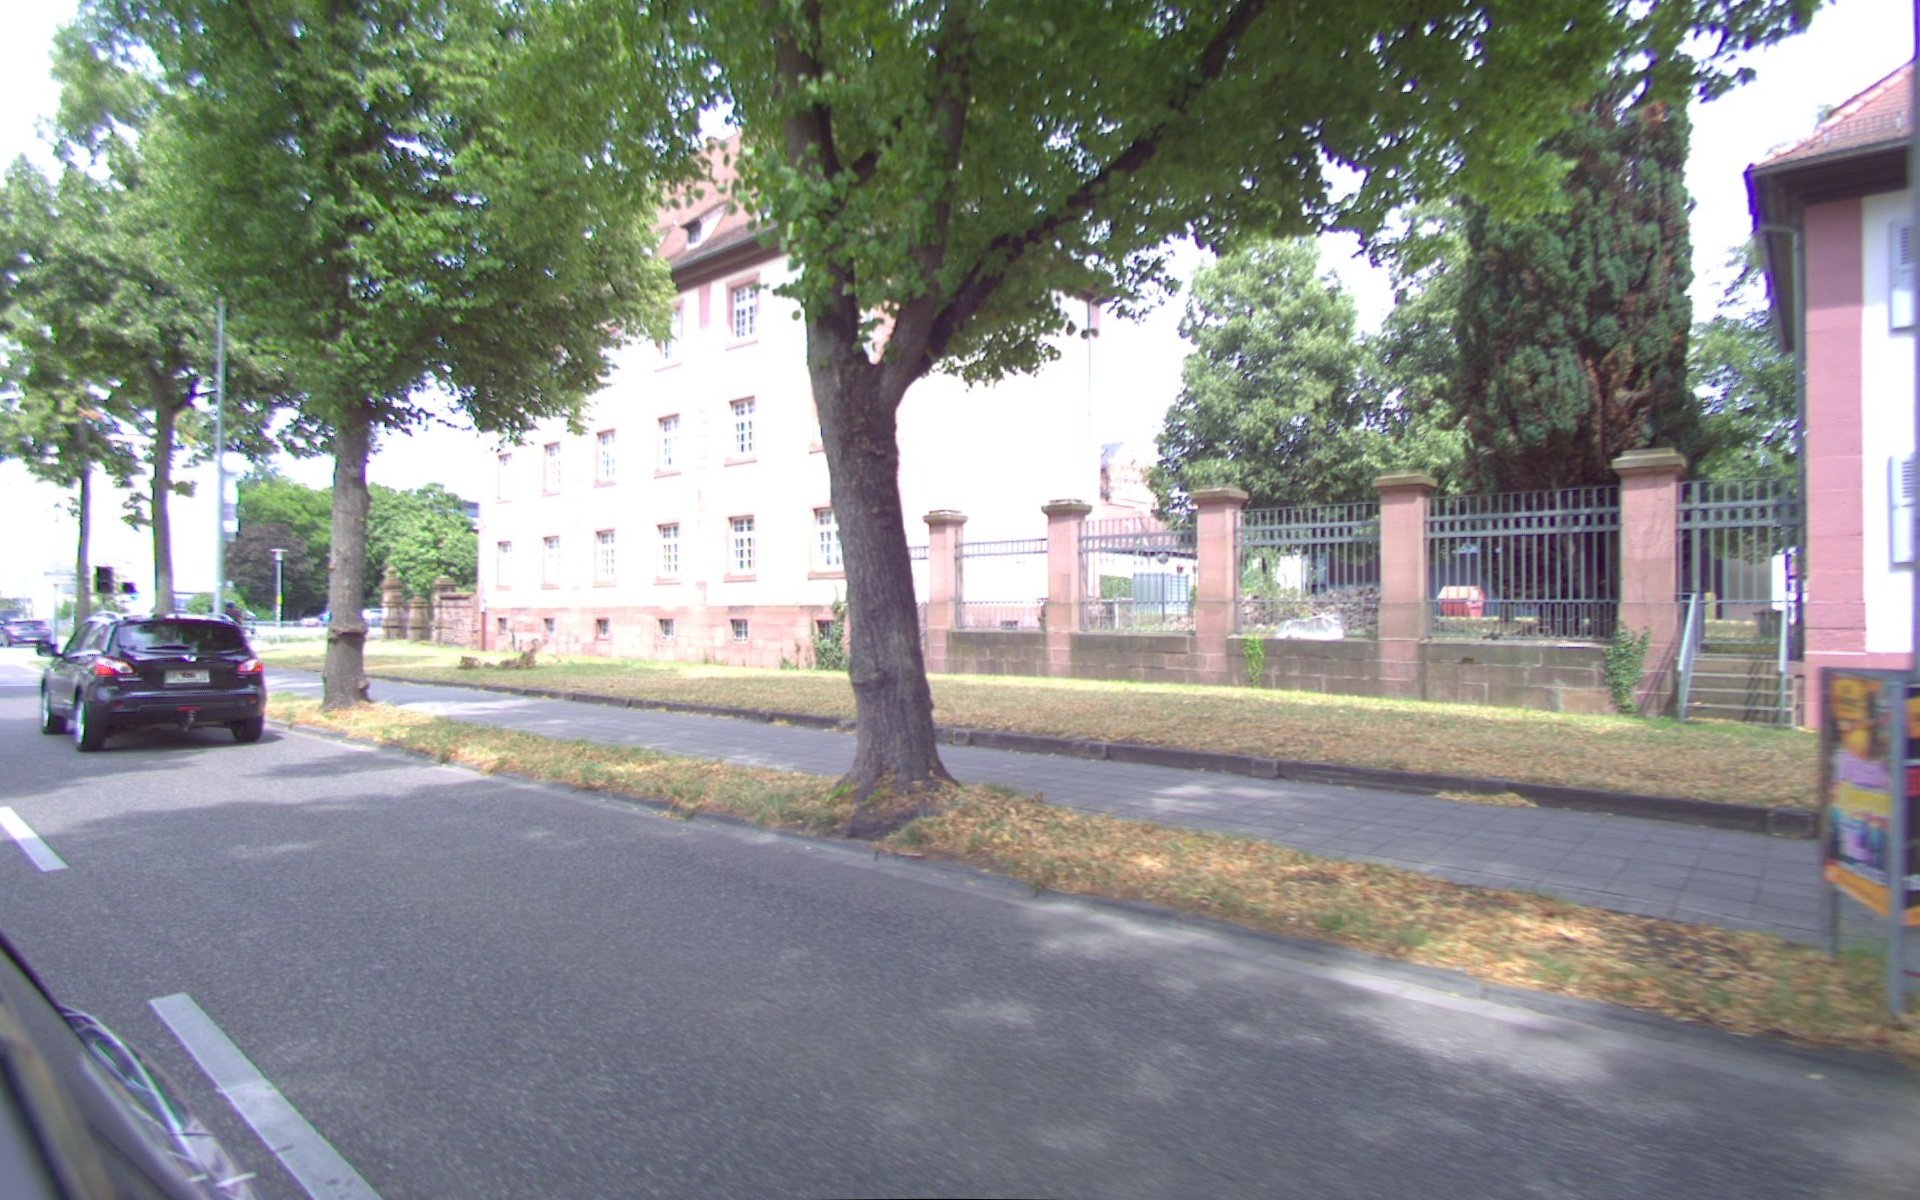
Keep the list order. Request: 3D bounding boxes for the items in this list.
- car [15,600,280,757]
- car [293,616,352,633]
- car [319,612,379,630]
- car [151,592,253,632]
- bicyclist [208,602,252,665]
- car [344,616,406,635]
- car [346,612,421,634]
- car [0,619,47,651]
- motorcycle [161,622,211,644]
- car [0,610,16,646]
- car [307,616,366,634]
[{"bbox_3d":[-10.389,0.894,12.839,4.253,1.672,1.754,-1,-3,40],"label":"car"},{"bbox_3d":[-56.015,2.126,88.977,1.982,1.494,3.946,0,-1,41],"label":"car"},{"bbox_3d":[-51.703,1.795,85.738,1.969,1.494,3.946,0,-1,41],"label":"car"},{"bbox_3d":[-52.309,0.794,69.893,2.354,2.571,5.254,-1,0,42],"label":"car"},{"bbox_3d":[-20.041,0.906,27.778,0.958,1.668,0.715,-1,2,41],"label":"bicyclist"},{"bbox_3d":[-47.791,2.042,82.707,1.616,1.494,4.112,0,-1,41],"label":"car"},{"bbox_3d":[-46.036,1.844,80.874,2.330,1.677,4.641,-1,-3,43],"label":"car"},{"bbox_3d":[-48.713,1.786,52.181,4.293,1.484,1.804,-1,0,39],"label":"car"},{"bbox_3d":[-42.270,1.802,55.283,2.066,1.151,0.725,4,-3,-45],"label":"motorcycle"},{"bbox_3d":[-56.628,1.665,58.897,4.840,2.019,1.929,-2,-1,40],"label":"car"},{"bbox_3d":[-53.752,2.116,87.320,1.857,1.494,3.946,0,-1,41],"label":"car"}]
